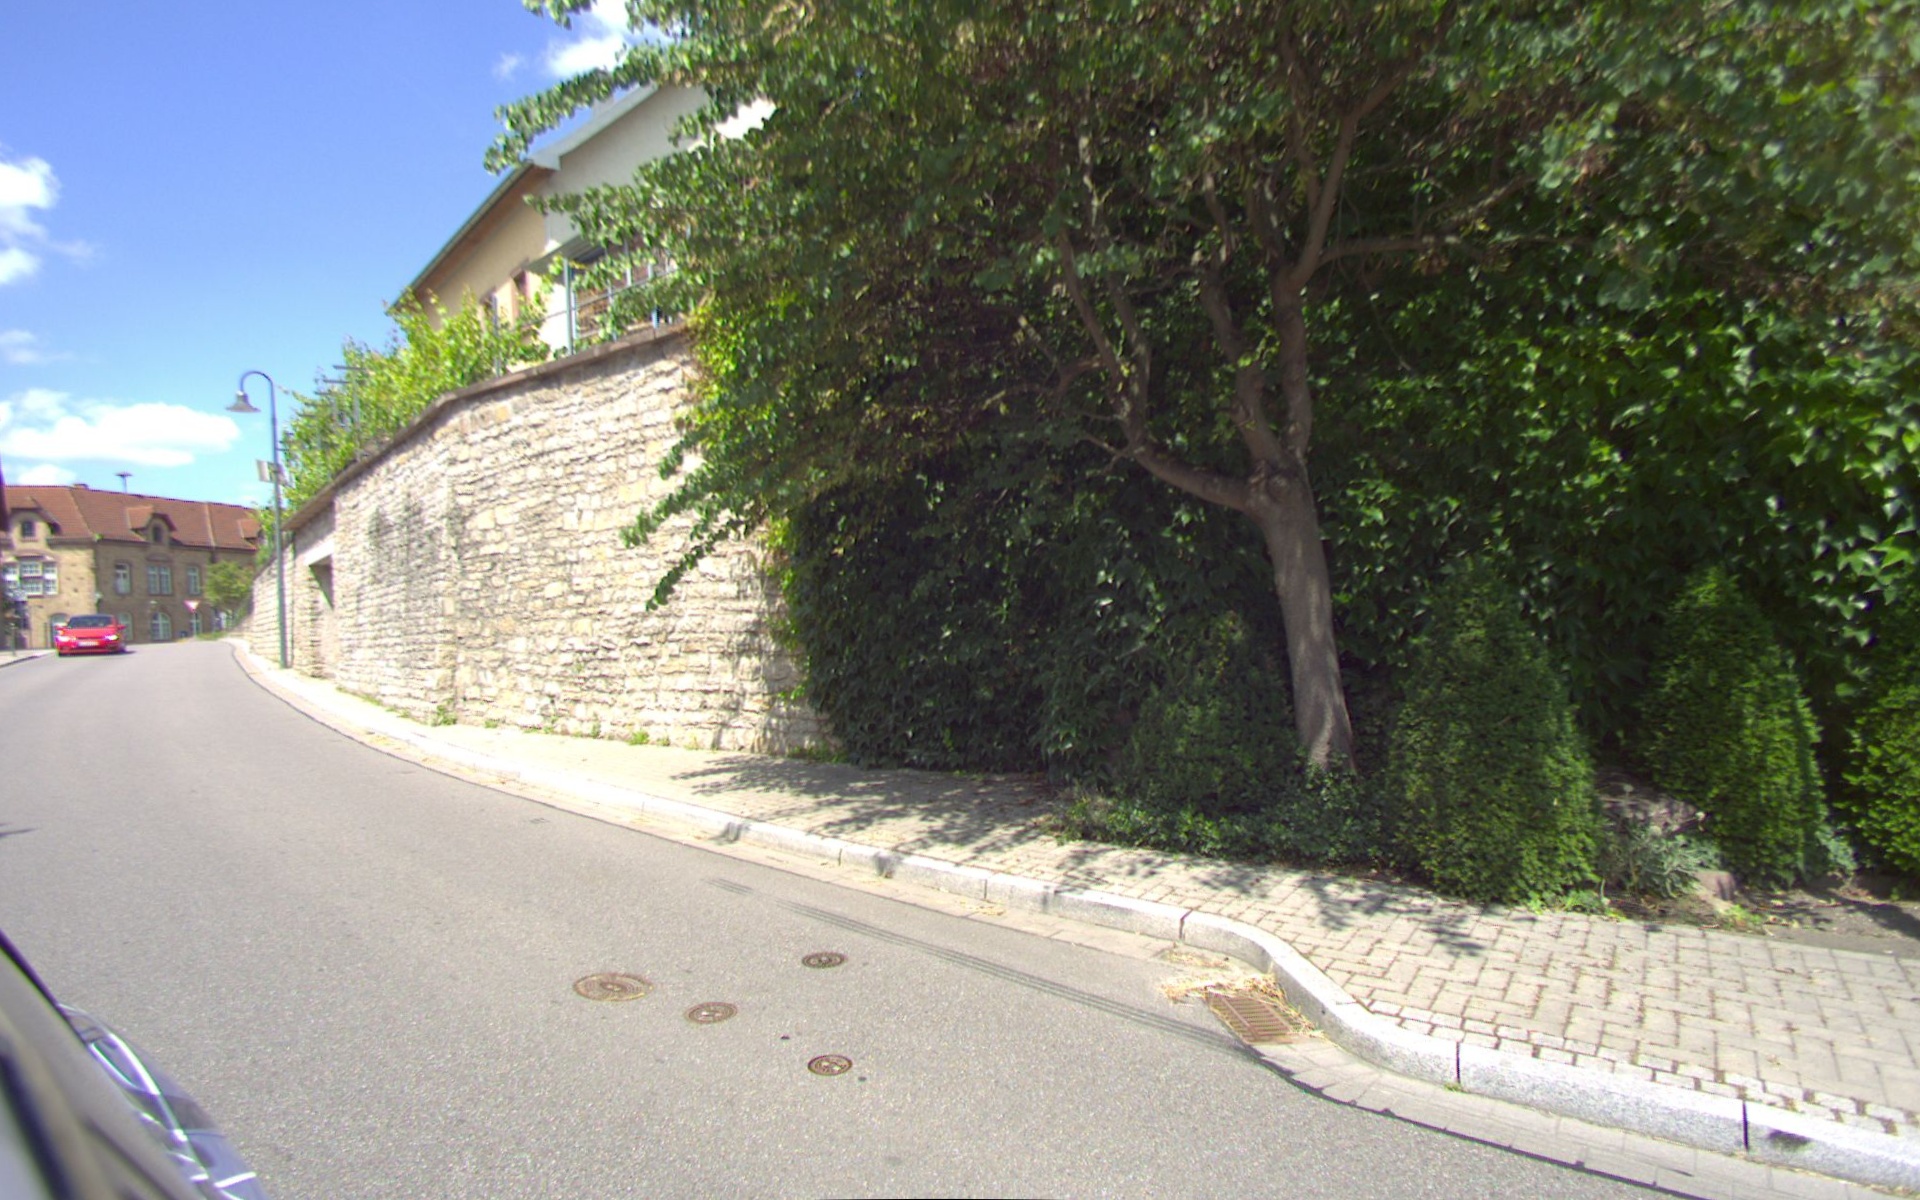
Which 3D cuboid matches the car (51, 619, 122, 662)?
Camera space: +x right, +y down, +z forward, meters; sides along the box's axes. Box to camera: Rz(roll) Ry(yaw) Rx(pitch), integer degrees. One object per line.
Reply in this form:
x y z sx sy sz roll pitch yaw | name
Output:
-30.293 1.372 35.180 1.644 1.362 3.501 -1 0 -38 | car
